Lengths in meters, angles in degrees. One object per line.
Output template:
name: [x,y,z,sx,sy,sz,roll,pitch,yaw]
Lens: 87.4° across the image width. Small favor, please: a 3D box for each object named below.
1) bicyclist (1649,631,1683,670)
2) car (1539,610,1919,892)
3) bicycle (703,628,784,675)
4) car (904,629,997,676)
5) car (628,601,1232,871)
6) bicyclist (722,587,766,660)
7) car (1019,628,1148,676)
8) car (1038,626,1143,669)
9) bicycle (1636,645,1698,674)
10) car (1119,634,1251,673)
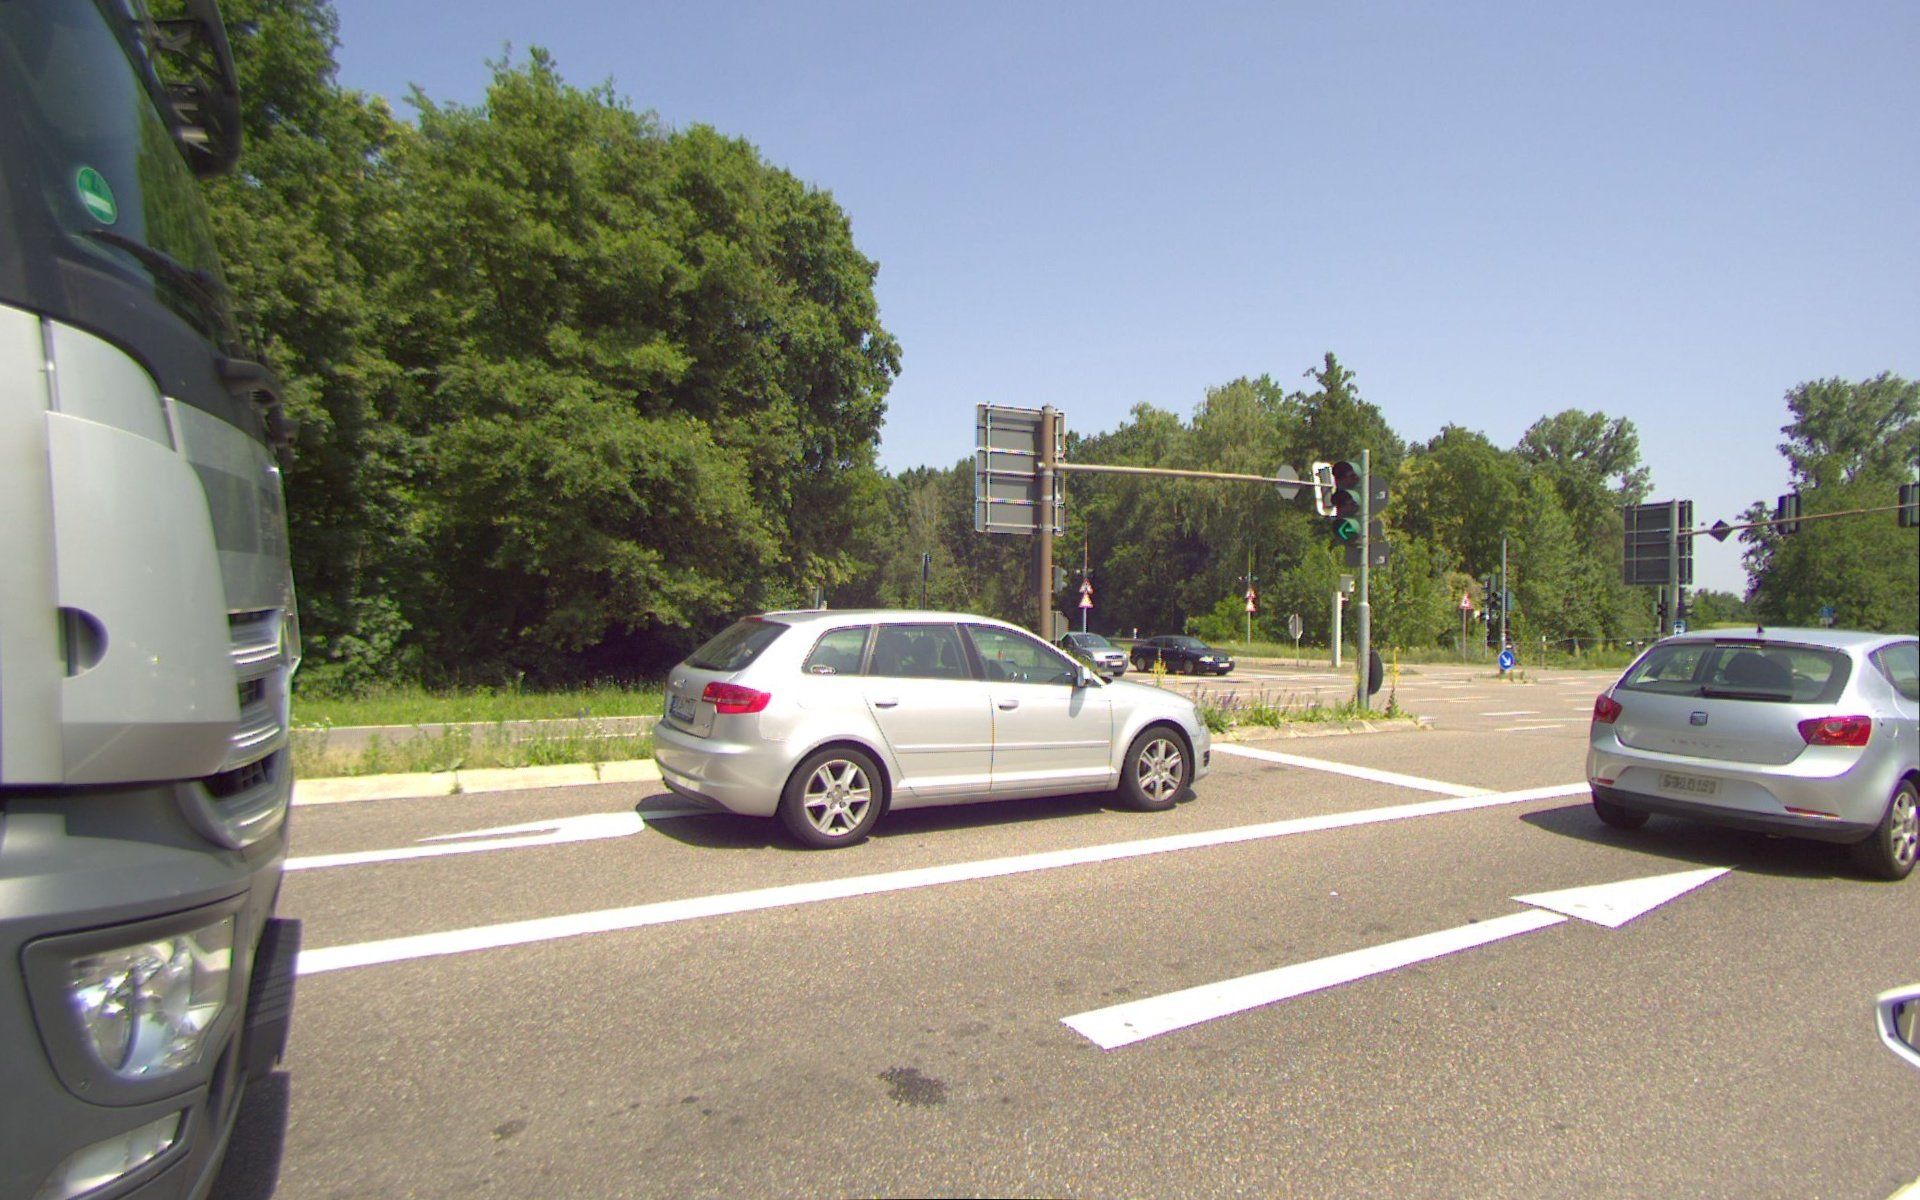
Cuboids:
bicyclist: [27.215,1.939,38.747,0.701,1.479,0.927,0,-1,7]
car: [5.923,0.841,6.950,3.783,1.449,1.658,1,0,-30]
bicycle: [-4.471,1.053,20.758,1.581,0.935,0.564,1,-2,-21]
car: [-0.473,2.245,44.042,1.977,1.923,4.782,1,-2,-30]
car: [-0.117,0.761,7.163,3.971,1.410,1.755,1,0,-33]
bicyclist: [-4.466,0.487,20.775,0.798,1.484,0.658,1,-1,-21]
car: [4.310,1.789,35.837,2.105,1.588,4.782,1,-2,-30]
car: [5.322,1.939,41.627,1.974,1.657,4.788,1,-2,-27]
bicycle: [27.231,2.268,38.709,1.831,1.077,0.725,0,-1,7]
car: [8.142,1.912,36.807,2.080,1.307,4.783,1,-2,-30]
